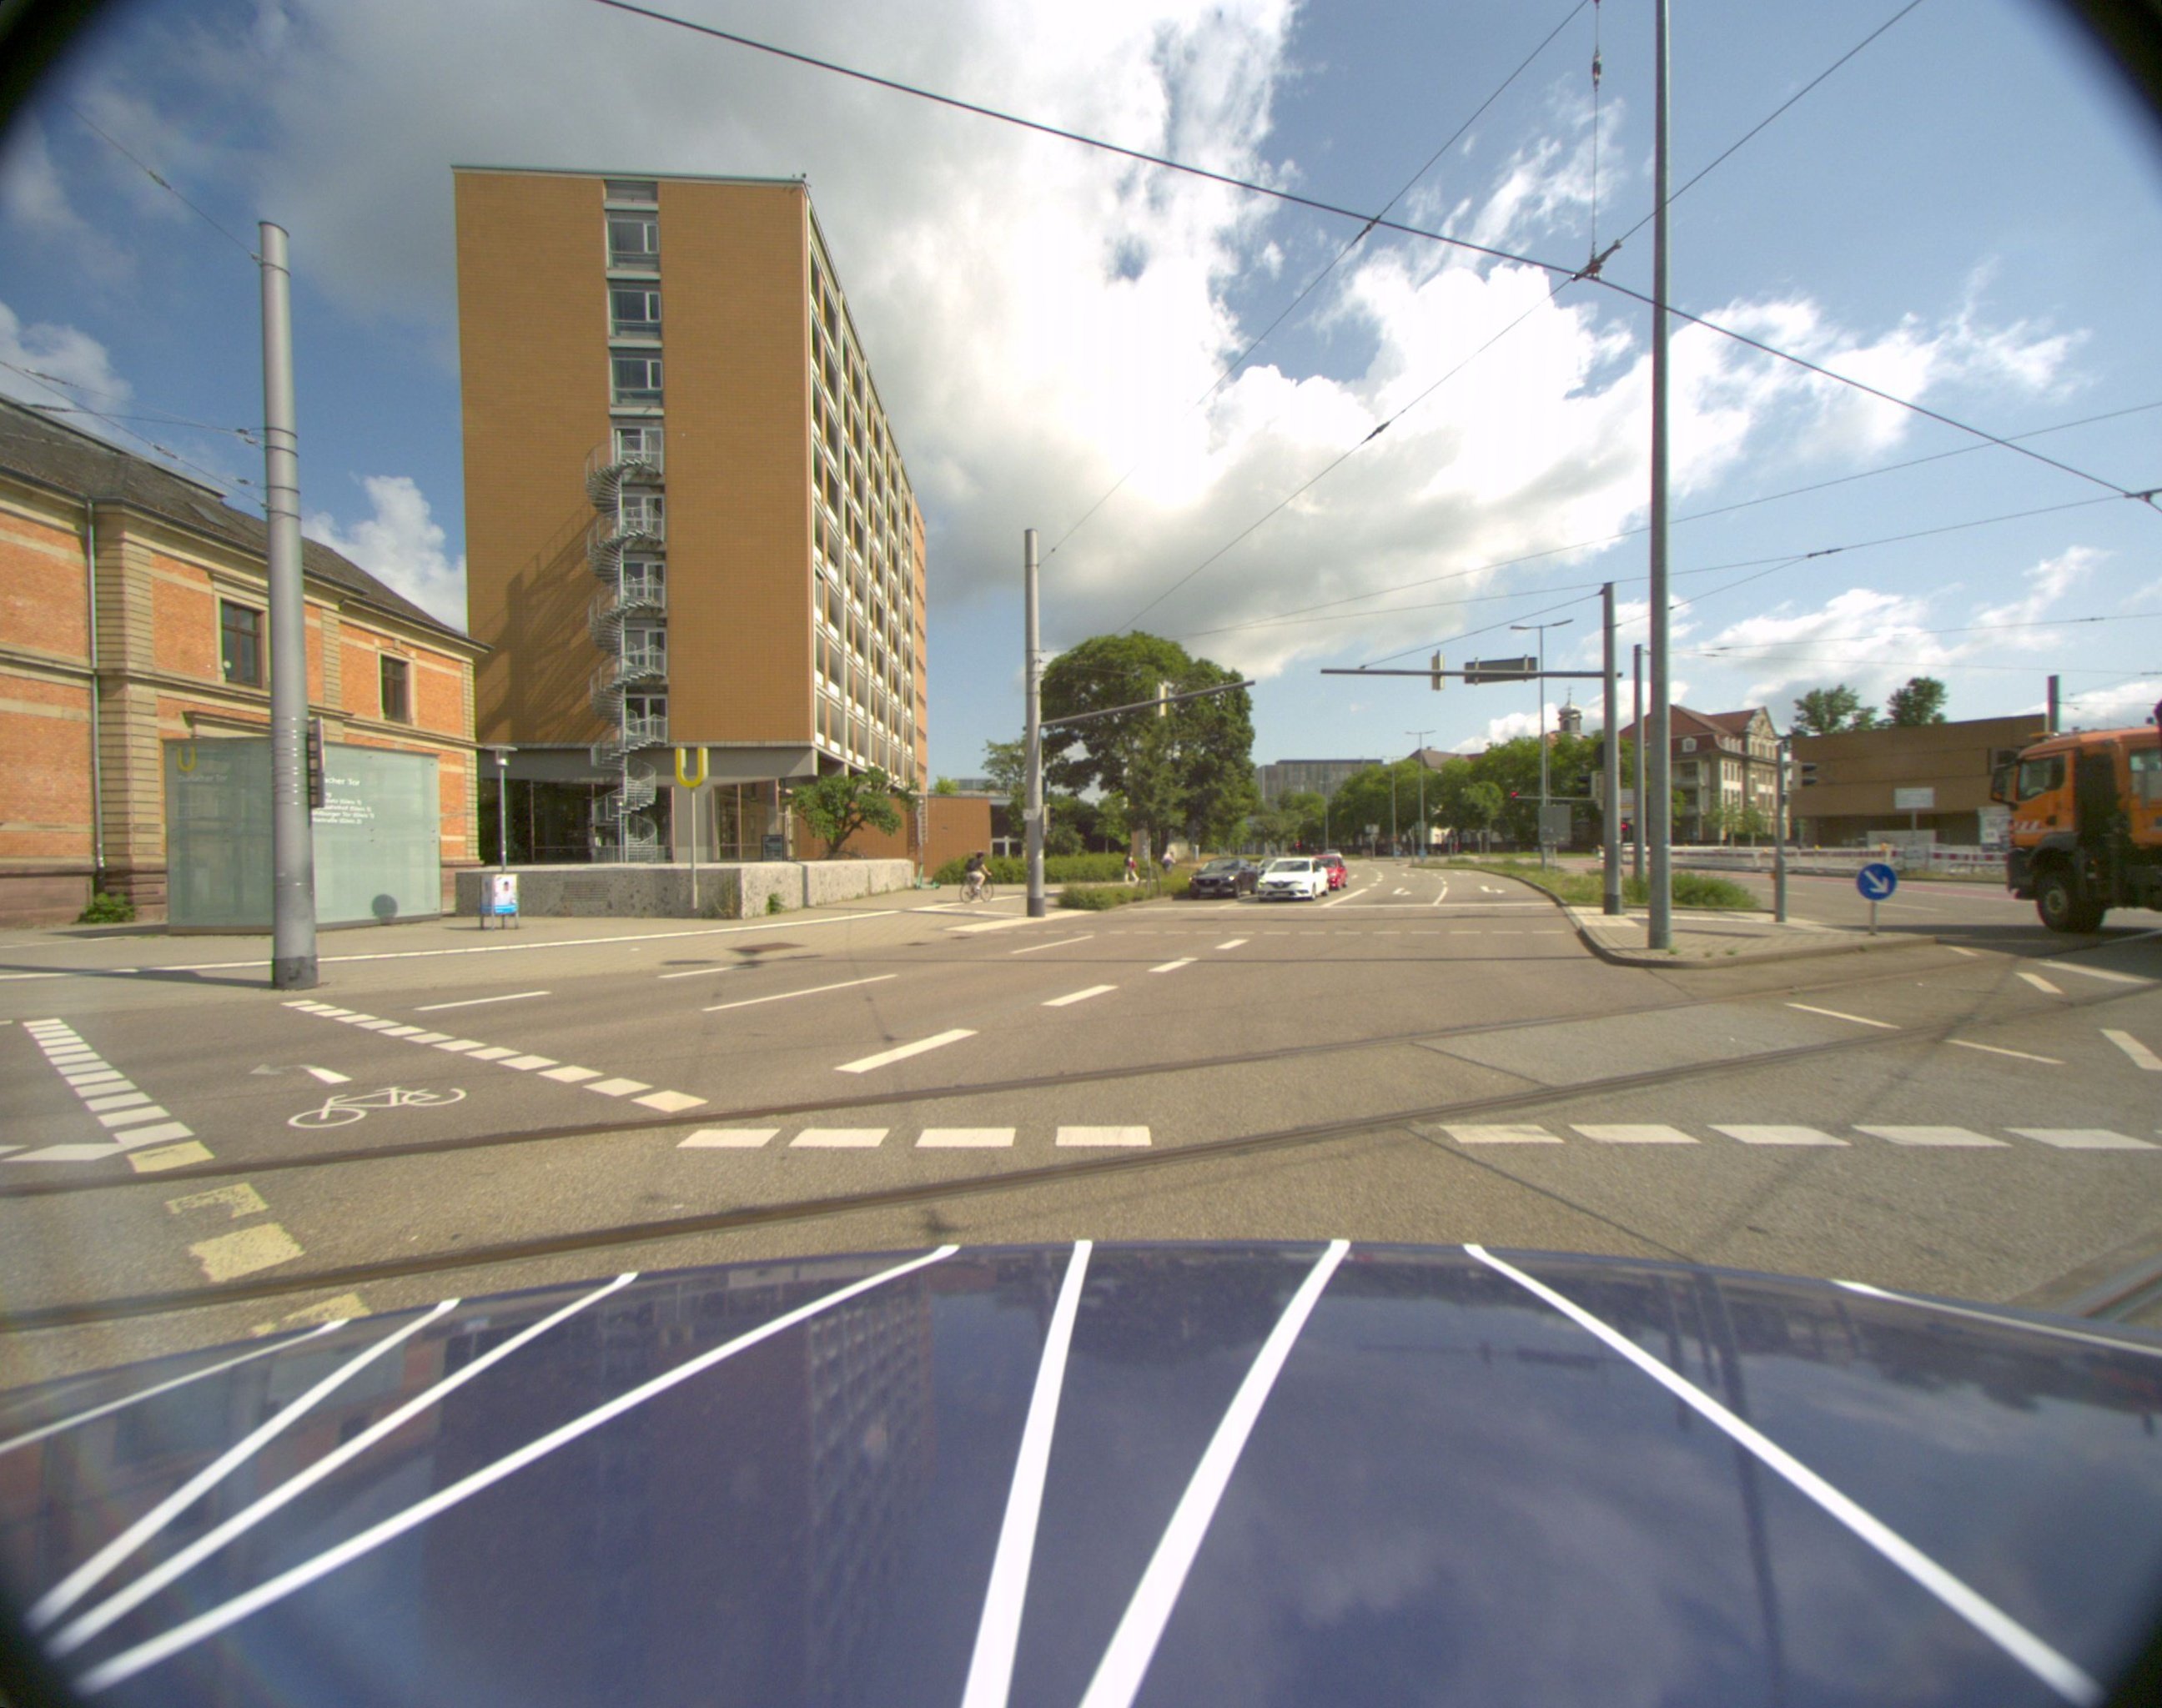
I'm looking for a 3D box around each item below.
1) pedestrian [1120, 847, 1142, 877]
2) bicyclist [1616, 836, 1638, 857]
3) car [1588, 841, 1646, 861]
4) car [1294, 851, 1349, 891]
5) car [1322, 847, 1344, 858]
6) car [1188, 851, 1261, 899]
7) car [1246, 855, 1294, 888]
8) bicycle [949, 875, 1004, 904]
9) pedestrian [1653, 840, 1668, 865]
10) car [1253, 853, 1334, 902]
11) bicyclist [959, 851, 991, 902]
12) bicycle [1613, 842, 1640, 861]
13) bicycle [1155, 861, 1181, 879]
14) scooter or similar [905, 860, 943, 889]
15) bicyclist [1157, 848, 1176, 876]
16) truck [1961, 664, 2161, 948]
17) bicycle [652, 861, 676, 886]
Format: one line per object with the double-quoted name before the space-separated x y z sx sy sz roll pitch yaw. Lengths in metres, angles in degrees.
"pedestrian" 2.674 0.413 40.794 0.958 1.569 0.768 -1 1 -19
"bicyclist" 41.317 -0.543 57.481 0.776 1.554 1.778 -1 1 16
"car" 48.061 -0.238 68.155 2.004 1.772 3.988 -2 1 -44
"car" 10.252 0.679 32.199 1.643 1.459 4.071 -3 0 25
"car" 35.422 -0.186 106.930 1.830 1.516 4.000 -1 0 1
"car" 5.557 0.743 29.038 1.643 1.567 4.218 -3 0 25
"car" 9.296 0.839 37.185 1.585 1.377 4.084 -3 0 23
"bicycle" -3.520 1.198 25.760 0.759 0.870 1.813 3 2 39
"pedestrian" 40.299 -0.110 52.828 0.651 1.754 1.003 -1 1 25
"car" 7.545 0.770 26.658 1.759 1.421 4.682 -3 0 27
"bicyclist" -3.564 0.754 25.581 0.577 1.662 0.939 1 2 39
"bicycle" 41.270 -0.192 57.485 0.971 1.402 2.296 -1 1 17
"bicycle" 4.654 0.839 40.512 0.651 0.892 2.280 0 1 27
"scooter or similar" -6.707 0.872 32.453 1.539 1.176 0.434 1 0 -27
"bicyclist" 4.552 0.428 40.359 0.634 1.449 1.172 0 1 27
"truck" 16.591 -0.691 10.375 2.830 3.985 8.085 -1 1 24
"bicycle" -21.486 0.992 39.163 0.428 1.240 1.474 -1 1 -3
